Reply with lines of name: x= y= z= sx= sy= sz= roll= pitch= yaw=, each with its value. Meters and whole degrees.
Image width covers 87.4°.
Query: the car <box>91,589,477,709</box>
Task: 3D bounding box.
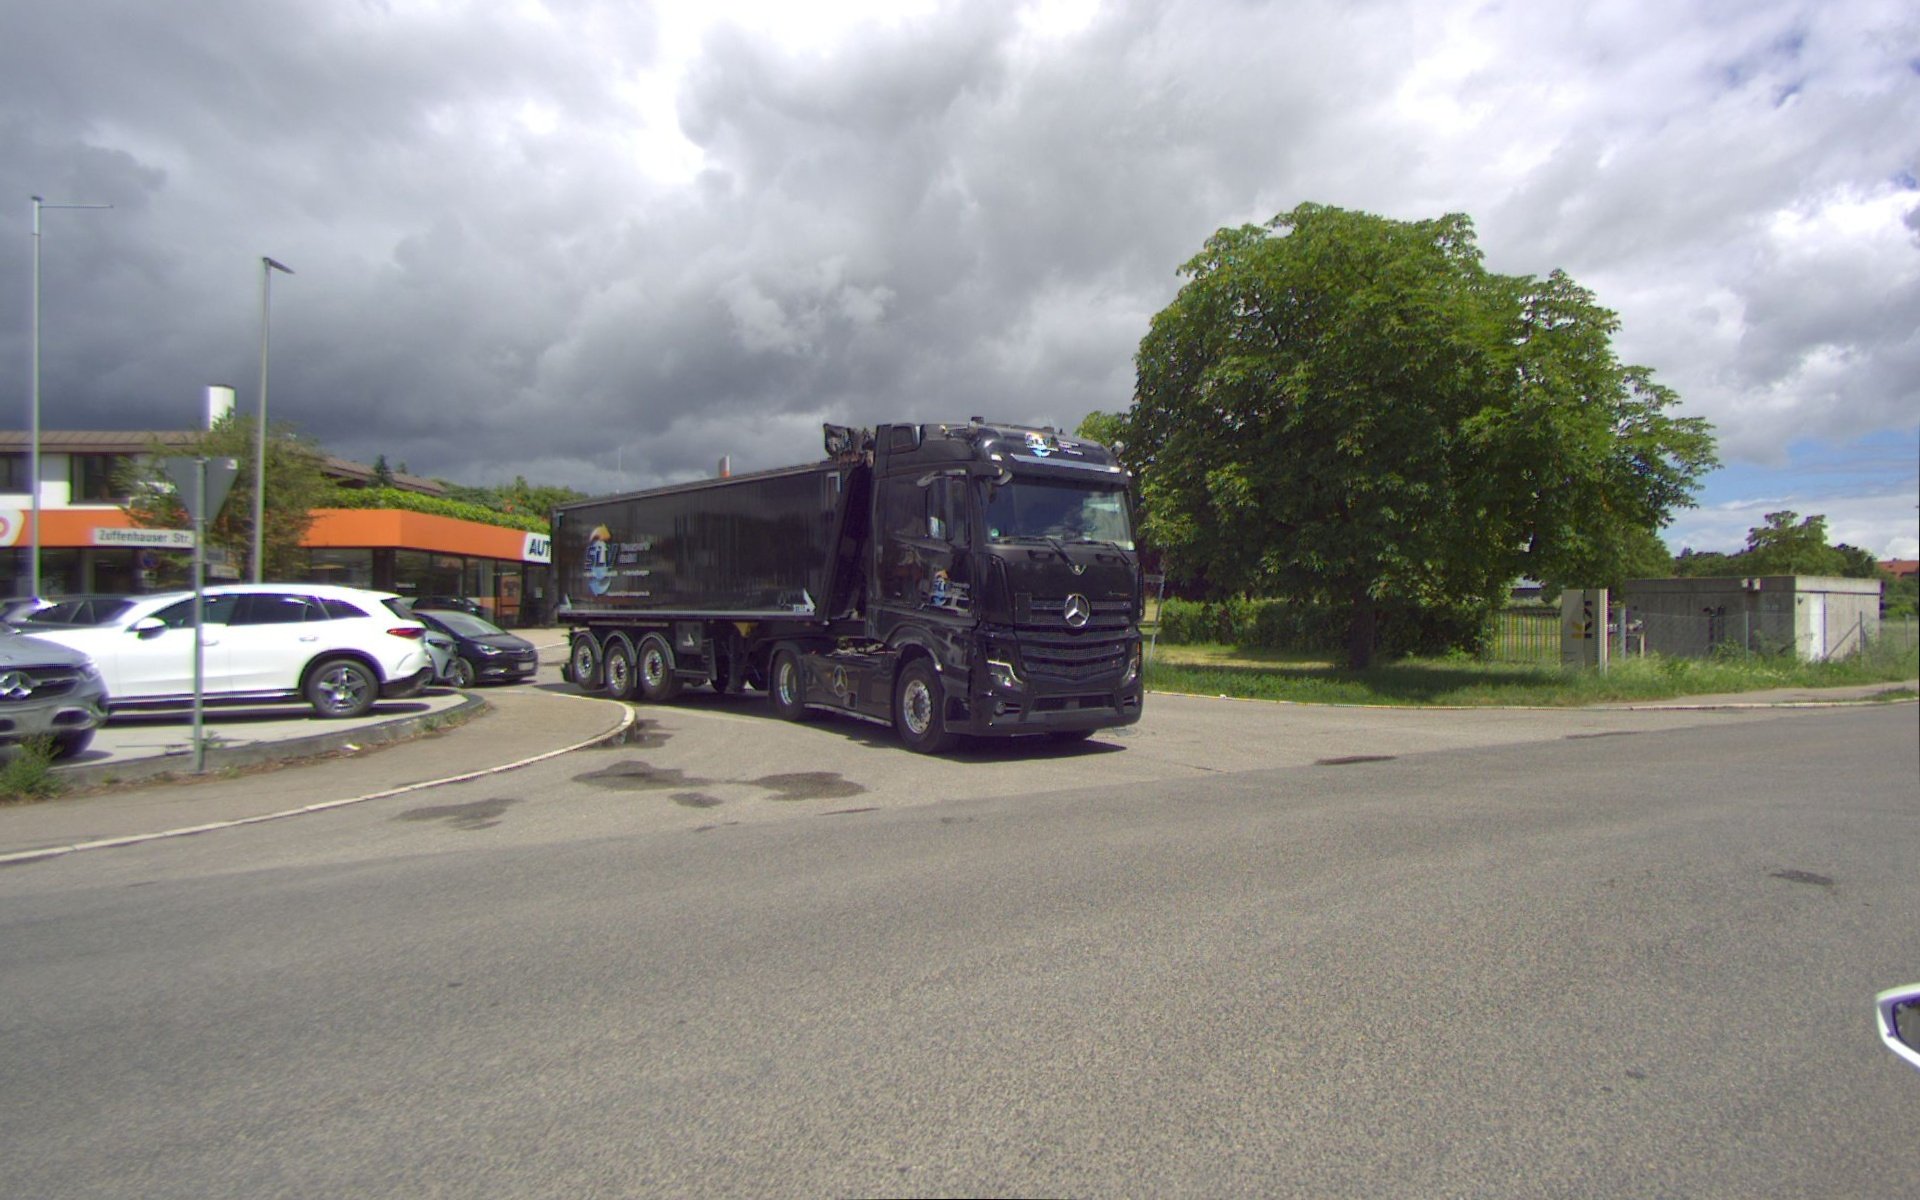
car: x=-10.158 y=0.712 z=15.573 sx=4.707 sy=1.622 sz=1.790 roll=1 pitch=-2 yaw=-30

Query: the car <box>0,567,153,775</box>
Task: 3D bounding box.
car: x=-9.713 y=0.532 z=8.603 sx=4.647 sy=1.626 sz=1.989 roll=1 pitch=0 yaw=14

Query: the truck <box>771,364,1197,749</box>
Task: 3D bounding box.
truck: x=0.021 y=-0.378 z=13.244 sx=2.954 sy=3.874 sz=5.519 roll=1 pitch=-1 yaw=-35

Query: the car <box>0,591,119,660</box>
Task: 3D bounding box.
car: x=-26.662 y=0.696 z=28.147 sx=4.583 sy=1.870 sz=1.833 roll=0 pitch=-1 yaw=-1

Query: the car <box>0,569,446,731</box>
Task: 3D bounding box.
car: x=-9.095 y=0.570 z=12.708 sx=4.545 sy=1.744 sz=1.922 roll=1 pitch=-1 yaw=-30

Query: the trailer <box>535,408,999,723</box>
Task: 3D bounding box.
trailer: x=-3.873 y=-0.386 z=17.652 sx=9.339 sy=4.137 sz=3.299 roll=-1 pitch=-1 yaw=45

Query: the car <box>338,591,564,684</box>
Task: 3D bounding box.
car: x=-11.093 y=0.783 z=22.023 sx=4.034 sy=1.901 sz=1.959 roll=0 pitch=-1 yaw=11
